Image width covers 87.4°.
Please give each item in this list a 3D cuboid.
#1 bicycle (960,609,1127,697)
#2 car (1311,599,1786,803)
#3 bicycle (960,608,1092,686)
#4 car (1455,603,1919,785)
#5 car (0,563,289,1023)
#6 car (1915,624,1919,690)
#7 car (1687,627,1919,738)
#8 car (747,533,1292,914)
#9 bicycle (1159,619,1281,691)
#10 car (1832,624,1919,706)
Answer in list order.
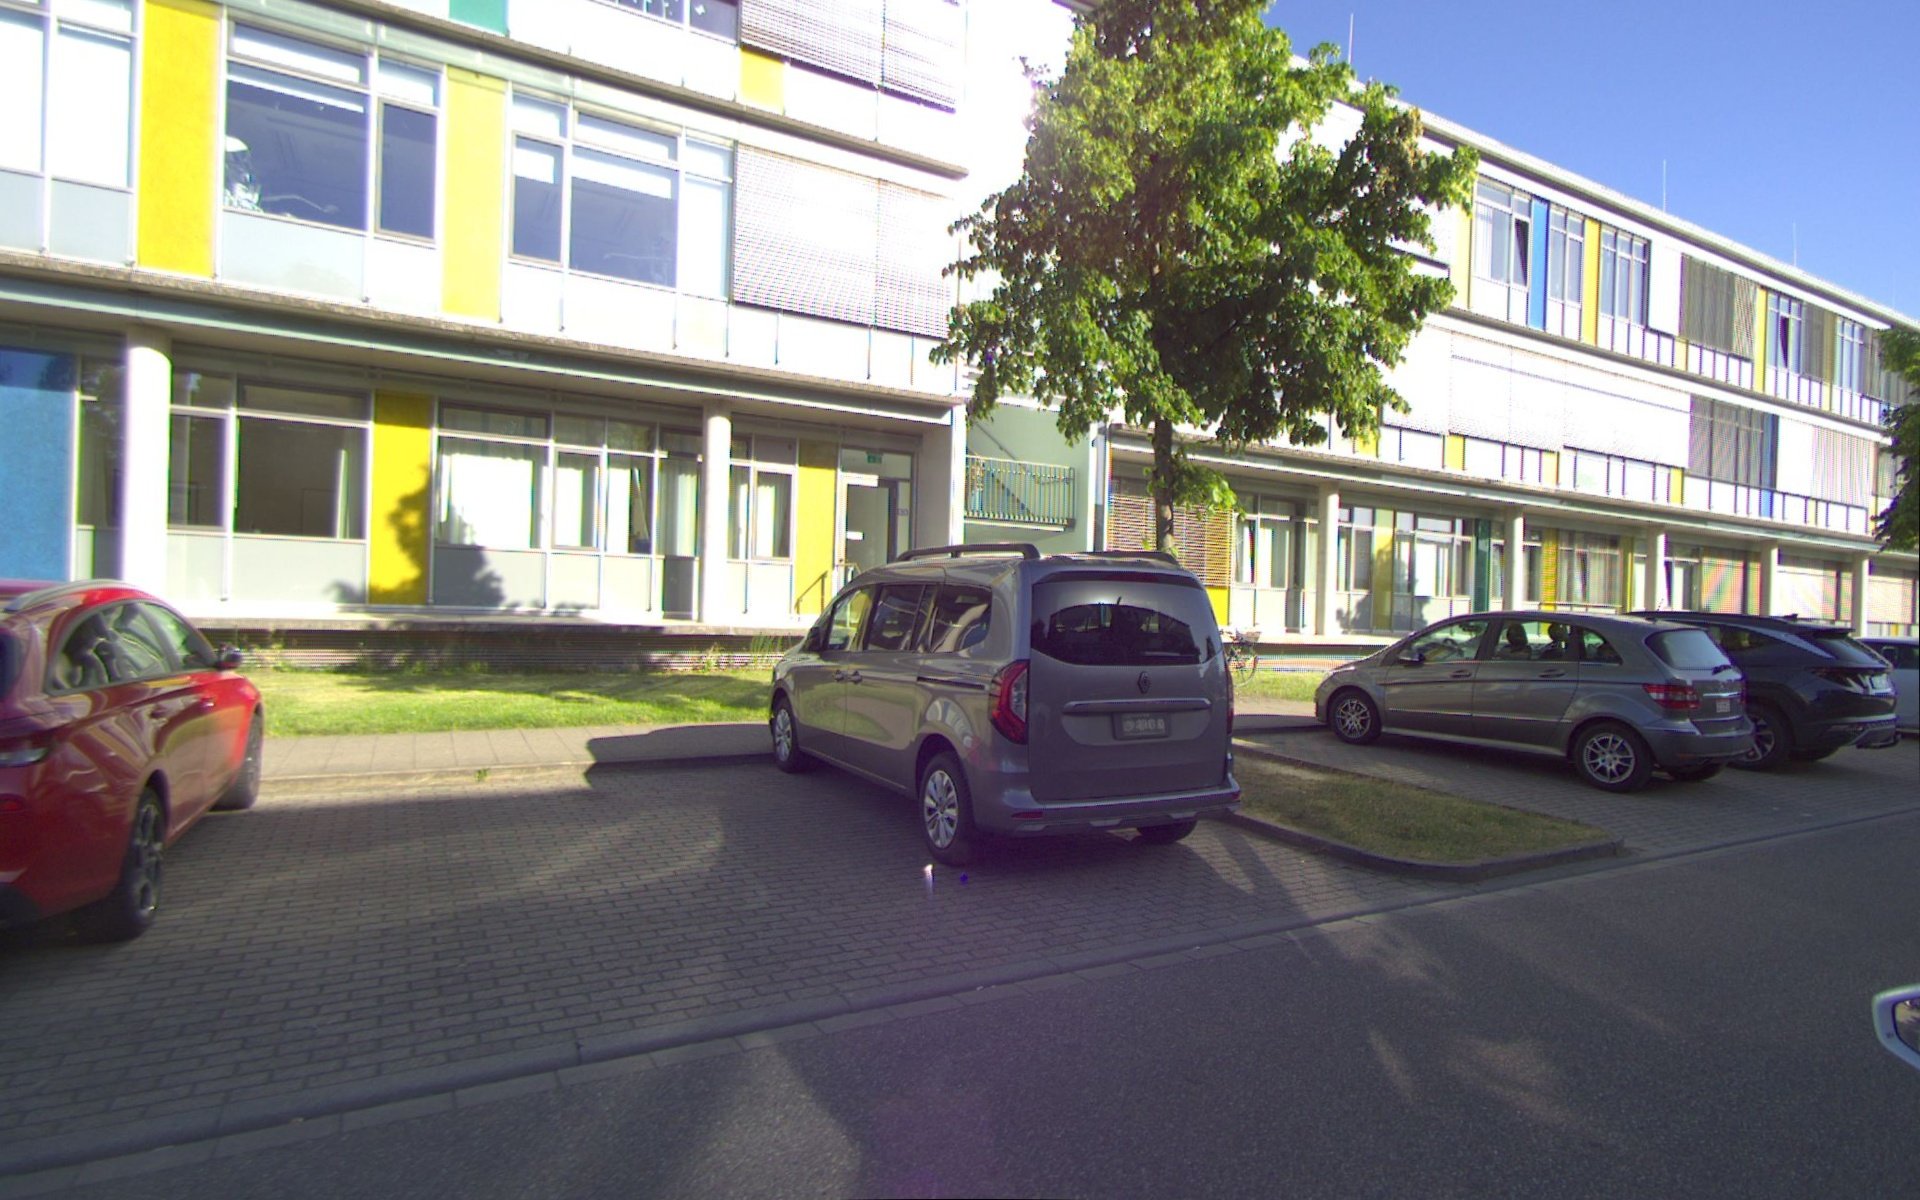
[{"bbox_3d":[1.236,0.787,15.181,2.329,1.169,0.870,3,1,-8],"label":"bicycle"},{"bbox_3d":[6.033,0.887,10.781,1.852,1.628,3.964,2,1,-32],"label":"car"},{"bbox_3d":[1.089,0.779,16.675,1.962,1.169,0.868,3,1,-20],"label":"bicycle"},{"bbox_3d":[8.601,0.948,12.165,2.026,1.633,4.222,2,1,-32],"label":"car"},{"bbox_3d":[-4.698,0.597,4.979,1.805,1.521,4.415,2,0,-28],"label":"car"},{"bbox_3d":[23.857,1.399,21.790,1.852,1.506,4.190,2,1,-32],"label":"car"},{"bbox_3d":[13.453,1.200,14.891,1.724,1.377,3.964,2,1,-32],"label":"car"},{"bbox_3d":[-0.005,0.571,7.489,1.805,1.890,4.722,2,1,-28],"label":"car"},{"bbox_3d":[4.432,0.918,17.136,1.864,1.126,0.889,1,1,-26],"label":"bicycle"},{"bbox_3d":[19.371,1.317,18.832,1.852,1.482,4.190,2,1,-32],"label":"car"}]
